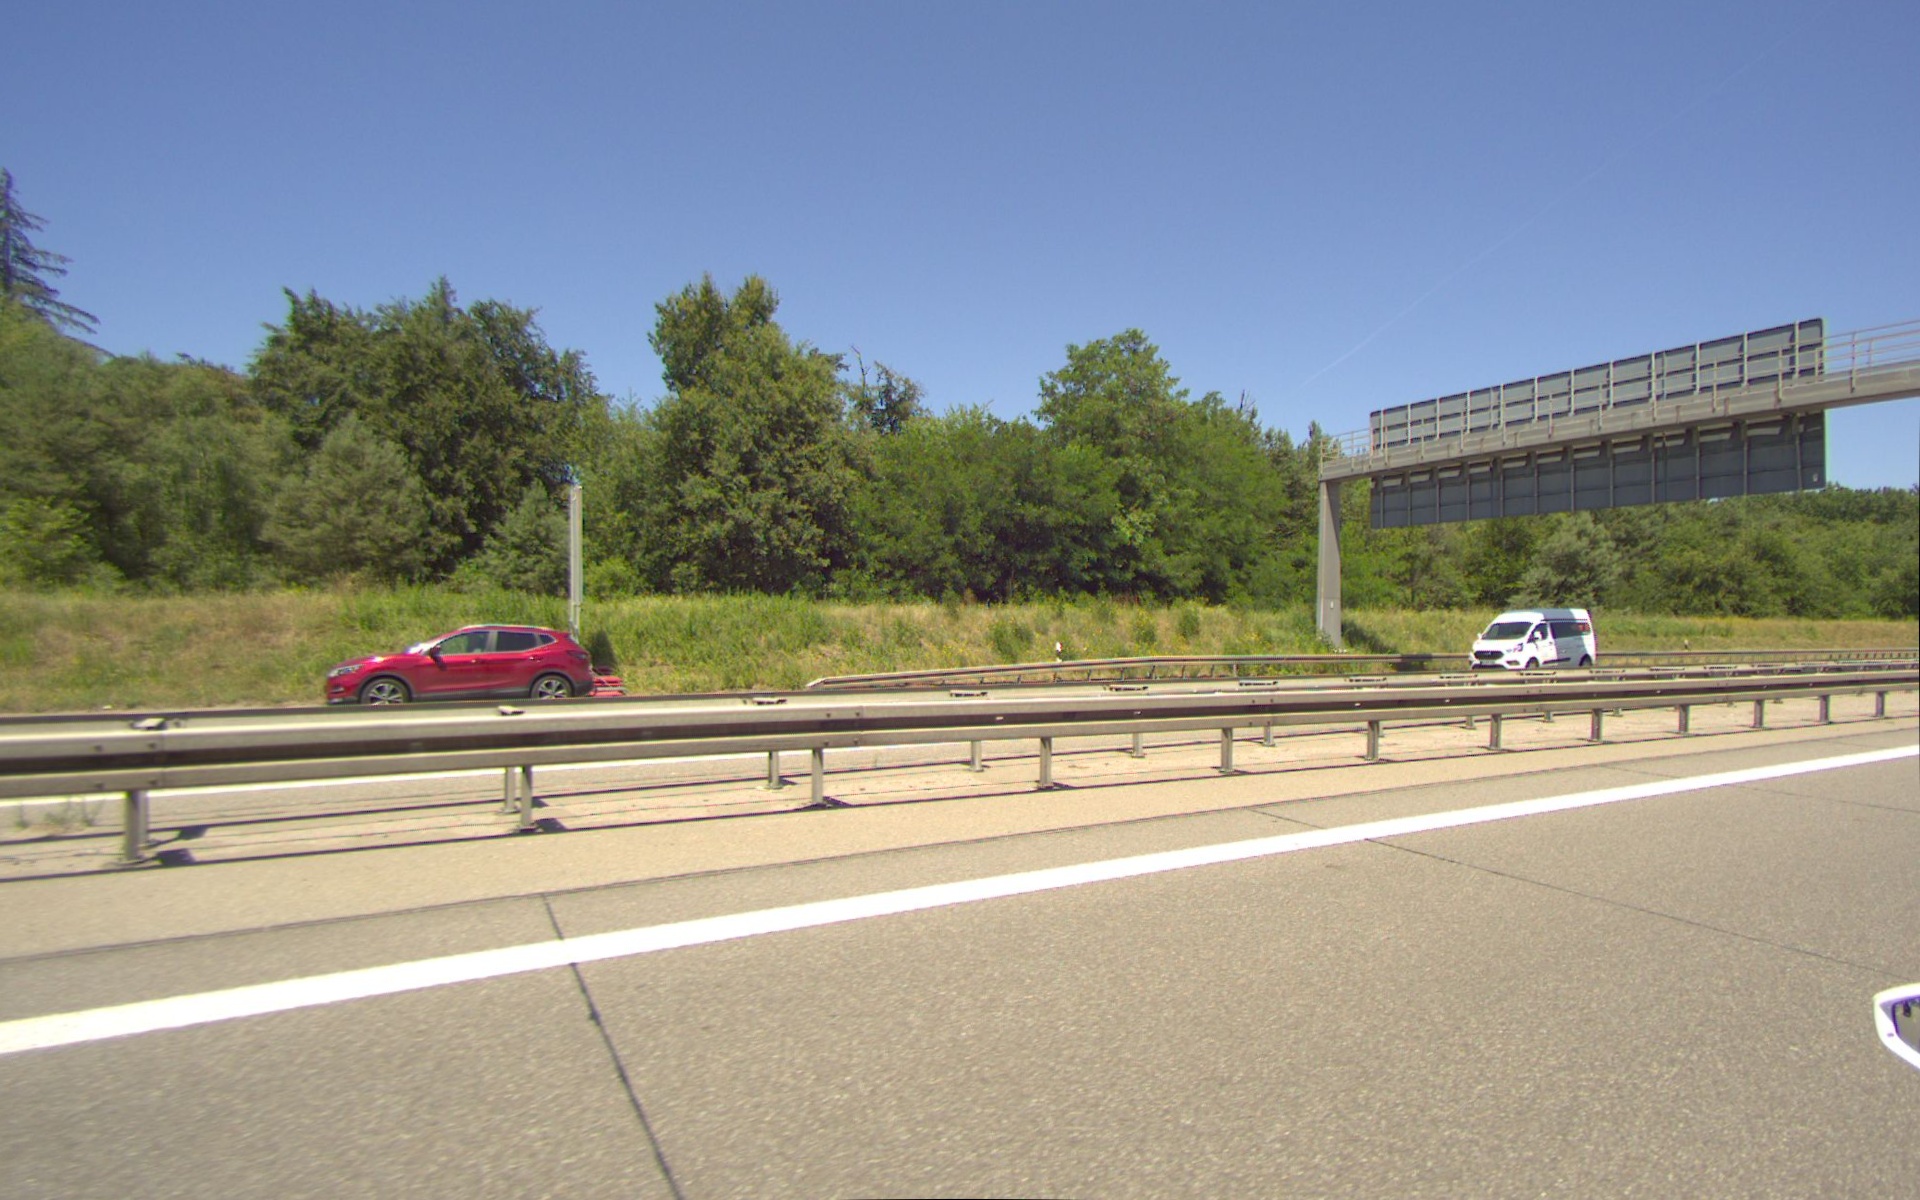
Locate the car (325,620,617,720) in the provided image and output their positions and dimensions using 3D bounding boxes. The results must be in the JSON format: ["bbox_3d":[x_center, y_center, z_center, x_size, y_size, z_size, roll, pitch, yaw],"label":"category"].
[{"bbox_3d":[-8.702,1.212,18.125,4.558,1.611,1.639,1,-3,-31],"label":"car"}]

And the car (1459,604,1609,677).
[{"bbox_3d":[20.028,1.427,34.969,5.744,2.371,1.978,1,-4,-32],"label":"car"}]

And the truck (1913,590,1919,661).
[{"bbox_3d":[57.673,1.451,57.602,6.407,3.999,2.613,1,-3,-31],"label":"truck"}]
